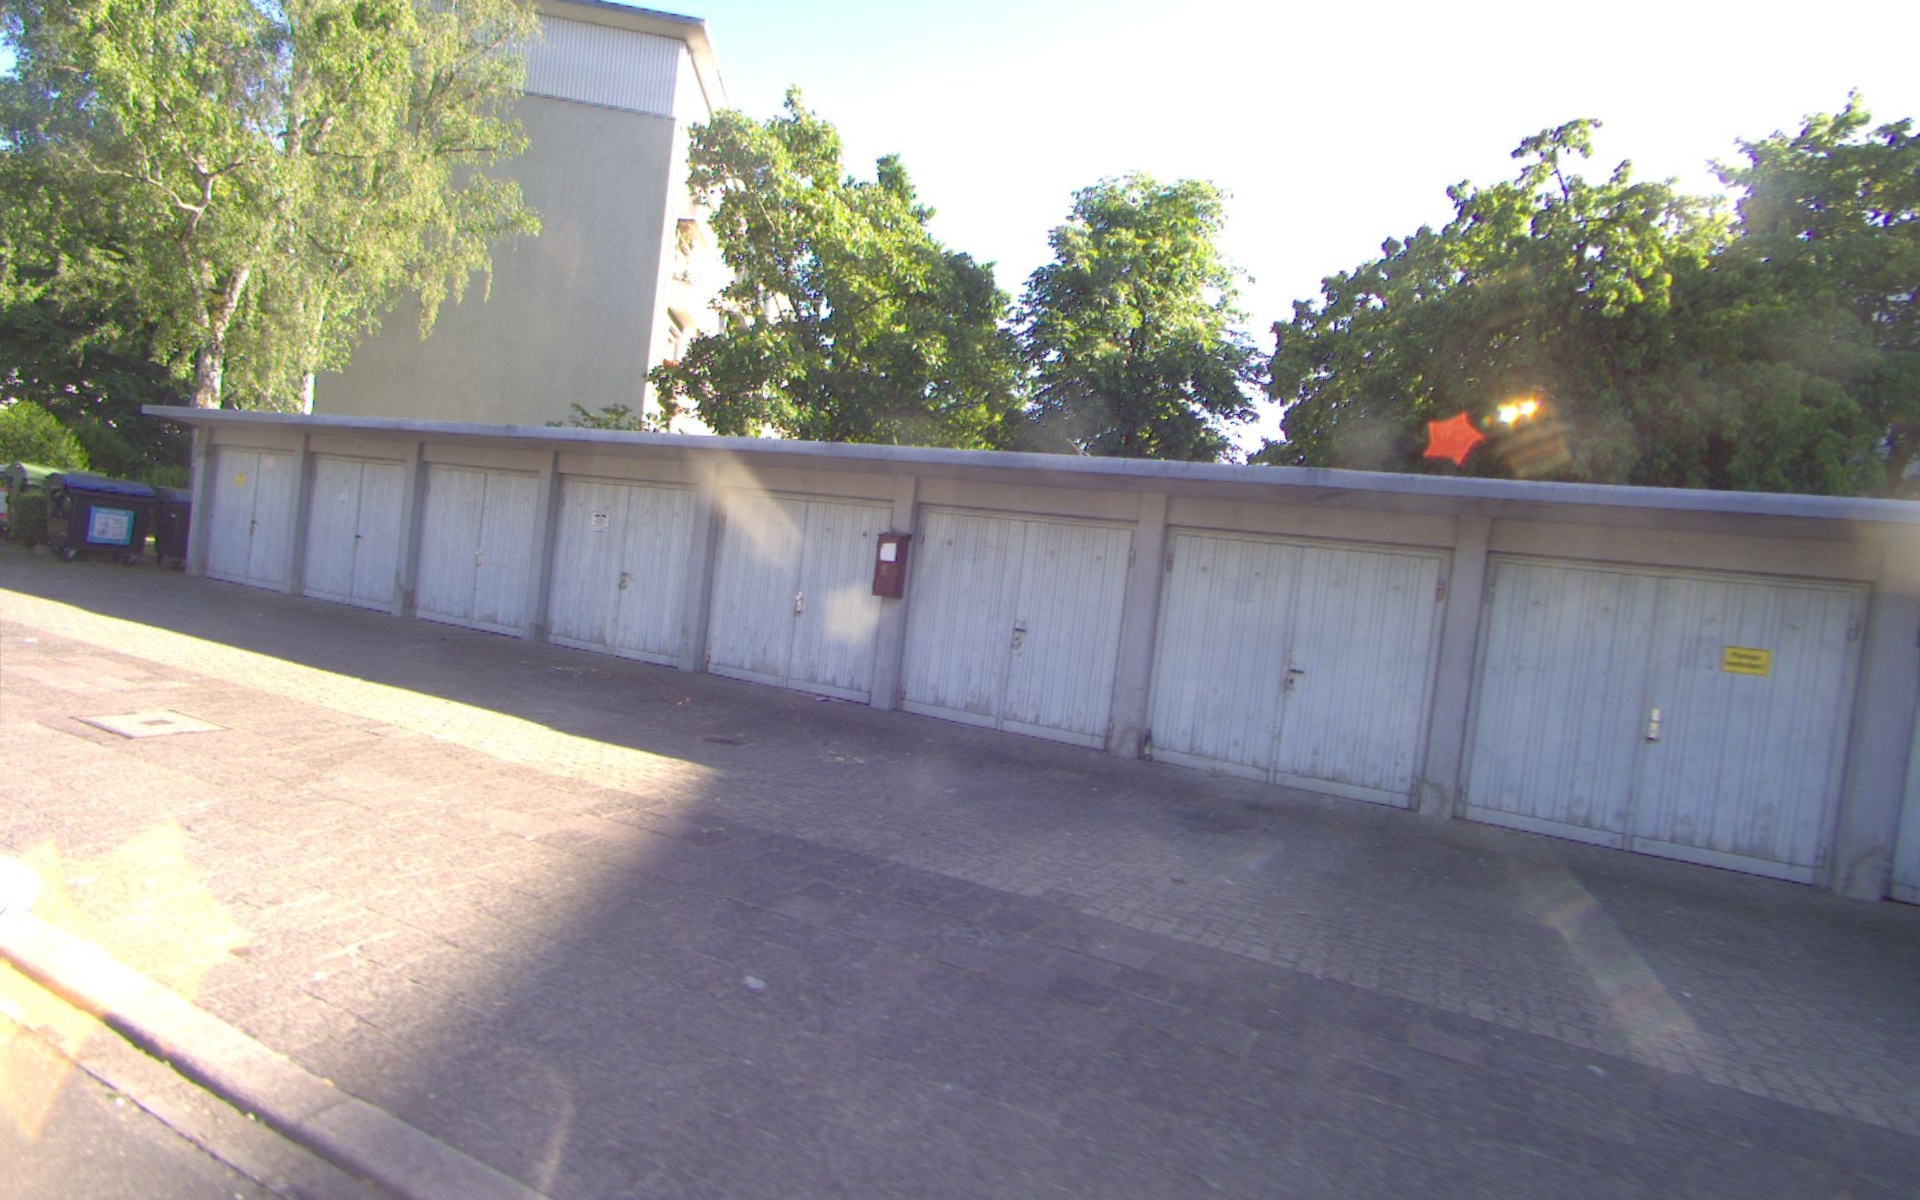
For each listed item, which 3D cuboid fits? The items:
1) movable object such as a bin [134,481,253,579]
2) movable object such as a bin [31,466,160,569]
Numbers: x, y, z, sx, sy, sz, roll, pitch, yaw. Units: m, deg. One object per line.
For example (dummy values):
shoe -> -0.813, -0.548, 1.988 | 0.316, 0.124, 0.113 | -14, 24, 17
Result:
movable object such as a bin -> -13.969, -1.260, 18.356 | 1.113, 1.485, 1.278 | 12, 3, 30
movable object such as a bin -> -14.907, -1.410, 17.359 | 1.113, 1.485, 1.278 | 12, 3, 30
